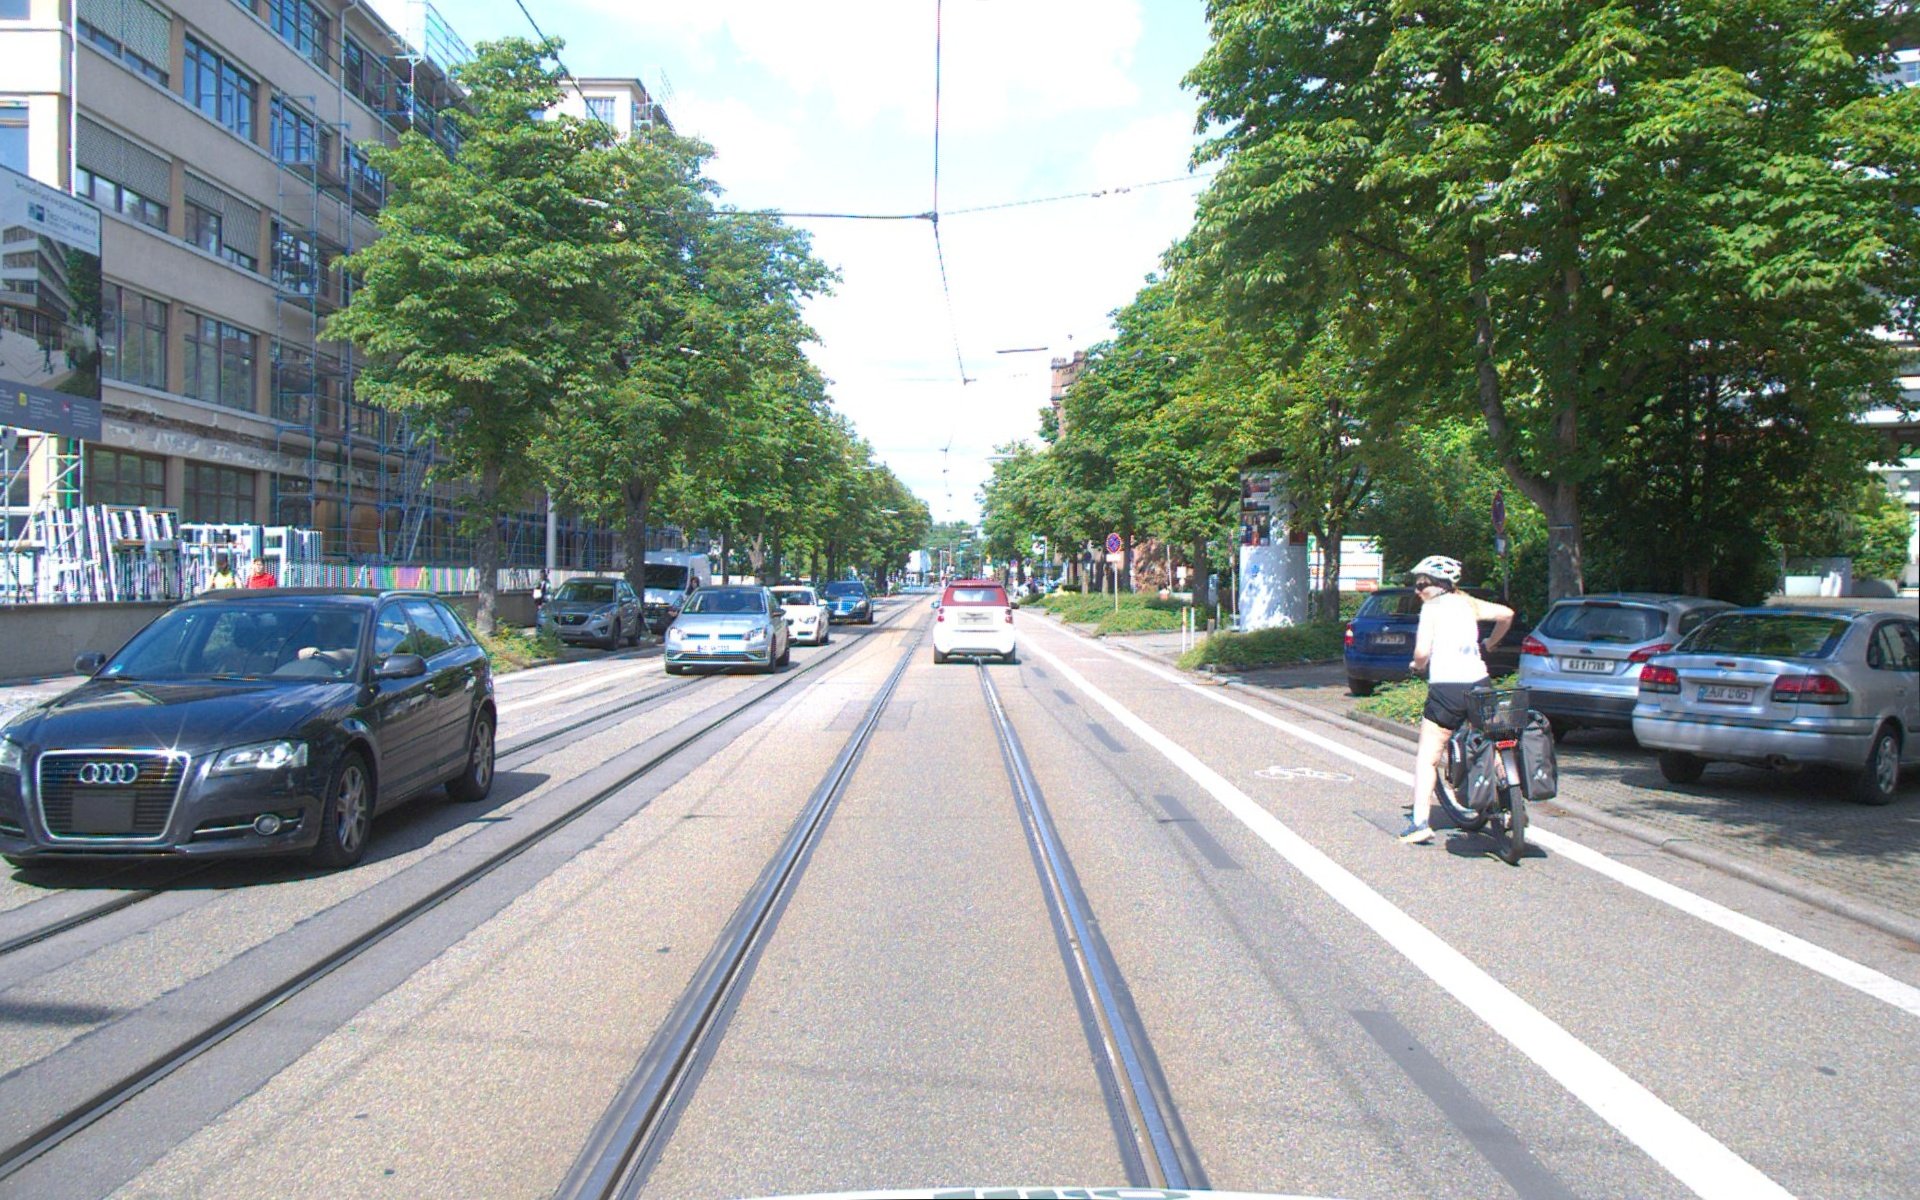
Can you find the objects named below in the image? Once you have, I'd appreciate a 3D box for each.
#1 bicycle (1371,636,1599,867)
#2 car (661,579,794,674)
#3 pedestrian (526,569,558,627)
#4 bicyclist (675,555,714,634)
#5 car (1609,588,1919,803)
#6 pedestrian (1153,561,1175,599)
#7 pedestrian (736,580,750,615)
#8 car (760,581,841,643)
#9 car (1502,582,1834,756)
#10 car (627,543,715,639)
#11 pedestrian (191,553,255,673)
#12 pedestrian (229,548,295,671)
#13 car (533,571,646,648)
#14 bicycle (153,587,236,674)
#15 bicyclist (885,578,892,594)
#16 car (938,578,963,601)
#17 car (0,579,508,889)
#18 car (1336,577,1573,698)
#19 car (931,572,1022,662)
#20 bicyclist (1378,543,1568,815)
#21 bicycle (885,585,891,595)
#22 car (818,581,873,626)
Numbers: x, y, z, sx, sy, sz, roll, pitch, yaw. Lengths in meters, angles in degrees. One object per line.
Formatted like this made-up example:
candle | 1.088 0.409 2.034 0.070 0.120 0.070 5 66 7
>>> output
bicycle | 3.110 0.846 10.045 0.856 1.145 2.137 2 1 5
car | -3.840 0.407 27.856 1.737 1.441 3.851 -2 0 -1
pedestrian | -12.240 -0.059 48.453 0.749 1.648 0.594 2 0 -1
bicyclist | -6.972 -0.143 43.530 0.859 2.049 0.833 -2 -1 -2
car | 7.192 0.651 13.460 4.201 1.444 1.700 0 2 -39
pedestrian | 10.995 -1.075 89.202 0.957 2.049 1.093 2 0 -2
pedestrian | -12.560 -0.144 95.598 0.788 2.049 0.484 0 0 -10
car | -3.831 0.268 40.205 1.652 1.430 4.225 0 0 -1
car | 7.158 0.620 16.570 3.773 1.500 1.628 1 2 -42
car | -8.693 -0.269 50.174 1.733 2.685 5.321 2 0 -1
pedestrian | -11.459 0.205 25.737 0.694 1.824 0.661 2 0 -6
pedestrian | -10.886 0.139 25.813 0.694 1.863 0.661 3 2 -6
car | -8.773 0.205 39.502 1.768 1.691 4.102 2 0 -1
bicycle | -11.889 0.452 25.742 0.437 1.309 1.739 0 1 2
bicyclist | -7.388 -1.455 171.188 0.645 1.607 0.945 2 0 -2
car | -0.684 -0.699 112.813 1.631 1.518 3.620 1 1 -1
car | -3.972 0.607 9.589 1.688 1.400 3.999 -1 0 -2
car | 7.020 0.462 23.282 1.588 1.512 3.974 0 1 43
car | 0.277 0.277 32.227 1.632 1.653 3.620 0 1 -2
bicyclist | 3.119 0.454 10.167 0.871 1.555 1.086 2 0 5
bicycle | -7.430 -1.017 171.242 0.605 0.990 1.717 0 1 -1
car | -4.094 0.097 59.614 1.764 1.534 4.535 1 0 -1
